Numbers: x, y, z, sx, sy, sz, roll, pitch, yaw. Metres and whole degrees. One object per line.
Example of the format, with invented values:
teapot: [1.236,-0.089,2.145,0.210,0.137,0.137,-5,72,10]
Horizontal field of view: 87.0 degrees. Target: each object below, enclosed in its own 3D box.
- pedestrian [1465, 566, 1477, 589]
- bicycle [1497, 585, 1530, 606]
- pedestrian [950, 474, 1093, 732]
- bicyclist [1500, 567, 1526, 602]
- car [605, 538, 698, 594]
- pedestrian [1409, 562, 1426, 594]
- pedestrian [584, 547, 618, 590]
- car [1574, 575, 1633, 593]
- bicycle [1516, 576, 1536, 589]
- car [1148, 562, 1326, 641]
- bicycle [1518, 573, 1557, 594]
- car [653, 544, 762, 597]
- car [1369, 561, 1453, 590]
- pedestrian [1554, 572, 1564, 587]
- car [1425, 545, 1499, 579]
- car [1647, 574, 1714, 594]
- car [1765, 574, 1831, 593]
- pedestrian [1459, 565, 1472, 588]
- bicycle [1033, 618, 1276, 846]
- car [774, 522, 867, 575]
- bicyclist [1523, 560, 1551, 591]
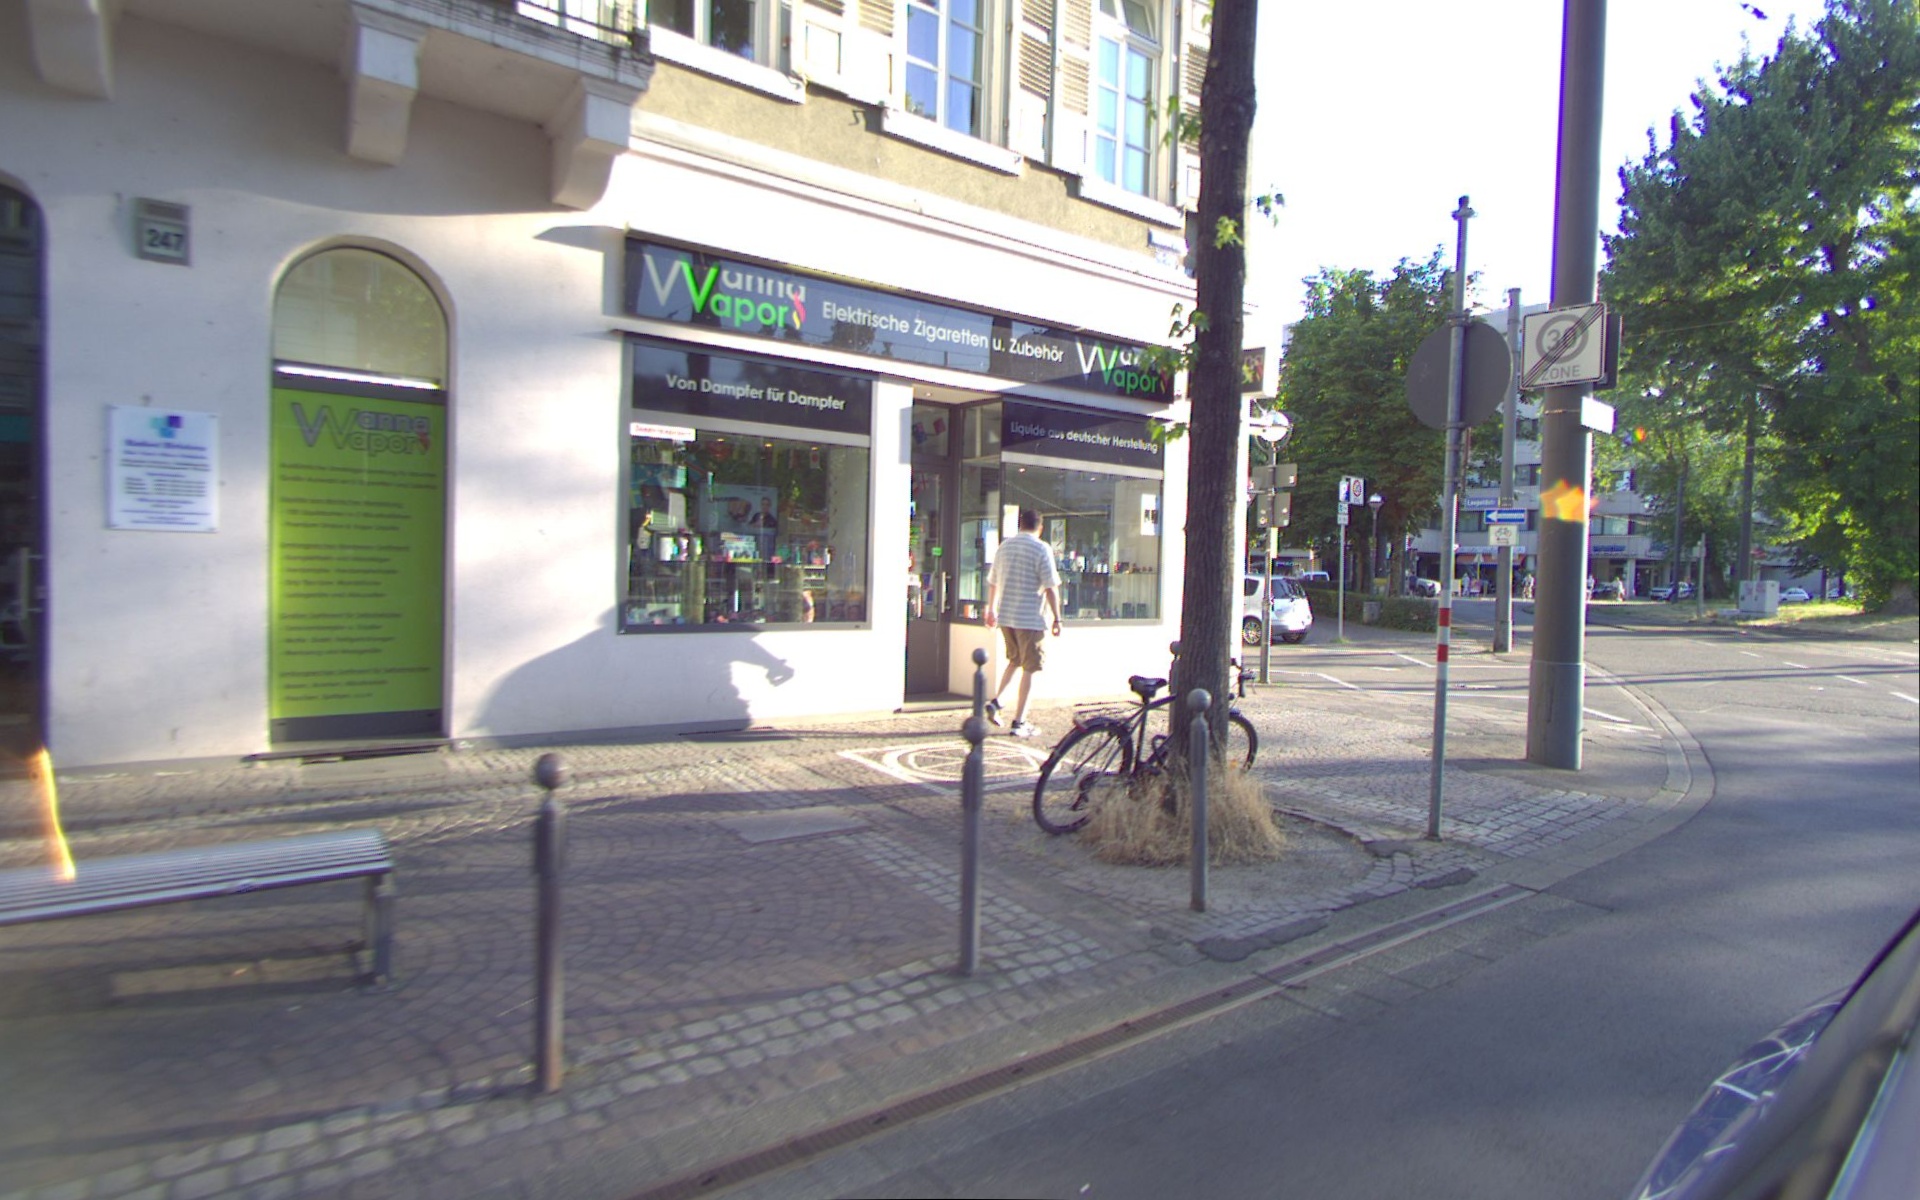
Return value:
pedestrian: [42.918,-1.872,85.004,0.597,1.859,0.570,6,6,22]
bicycle: [31.669,-0.255,57.939,0.921,1.089,2.216,1,2,9]
pedestrian: [0.520,0.002,8.598,0.832,2.038,0.842,-1,3,-41]
bicyclist: [31.690,-0.891,58.036,0.910,1.998,1.111,1,2,9]
car: [-11.807,-1.330,38.538,1.986,1.987,4.512,-1,3,-36]
pedestrian: [25.888,-1.256,57.266,0.587,1.765,0.633,4,2,44]
pedestrian: [-10.684,-0.941,30.097,0.674,1.260,1.027,0,3,-36]
car: [54.172,-1.369,85.196,3.917,1.460,1.799,1,2,-10]
bicycle: [49.186,-1.562,87.899,1.433,1.004,0.526,5,5,28]
car: [6.180,-0.029,22.882,1.707,1.532,3.578,0,3,-36]
bicycle: [39.482,-1.158,69.187,3.184,1.378,1.271,-1,3,-41]
car: [-8.578,-1.034,34.110,1.986,1.637,4.512,-1,3,-36]
car: [29.880,-1.646,67.136,1.966,1.793,4.701,-1,3,-43]
pedestrian: [53.755,-1.869,90.805,0.582,1.337,0.610,-1,3,-44]
car: [44.760,-3.386,90.383,2.142,2.759,5.434,0,4,-38]
car: [61.571,-1.380,86.539,4.430,1.625,2.004,1,2,-9]
car: [73.754,-1.454,89.073,4.430,1.625,2.004,1,2,-9]
pedestrian: [42.831,-1.965,85.738,0.526,1.859,0.622,4,5,-5]
bicycle: [1.156,0.682,5.775,1.668,1.090,0.355,-1,3,-39]
car: [-5.788,-2.111,41.524,1.962,2.038,4.438,0,3,-35]
bicyclist: [39.308,-1.676,68.978,1.343,2.016,1.235,-1,3,-41]
